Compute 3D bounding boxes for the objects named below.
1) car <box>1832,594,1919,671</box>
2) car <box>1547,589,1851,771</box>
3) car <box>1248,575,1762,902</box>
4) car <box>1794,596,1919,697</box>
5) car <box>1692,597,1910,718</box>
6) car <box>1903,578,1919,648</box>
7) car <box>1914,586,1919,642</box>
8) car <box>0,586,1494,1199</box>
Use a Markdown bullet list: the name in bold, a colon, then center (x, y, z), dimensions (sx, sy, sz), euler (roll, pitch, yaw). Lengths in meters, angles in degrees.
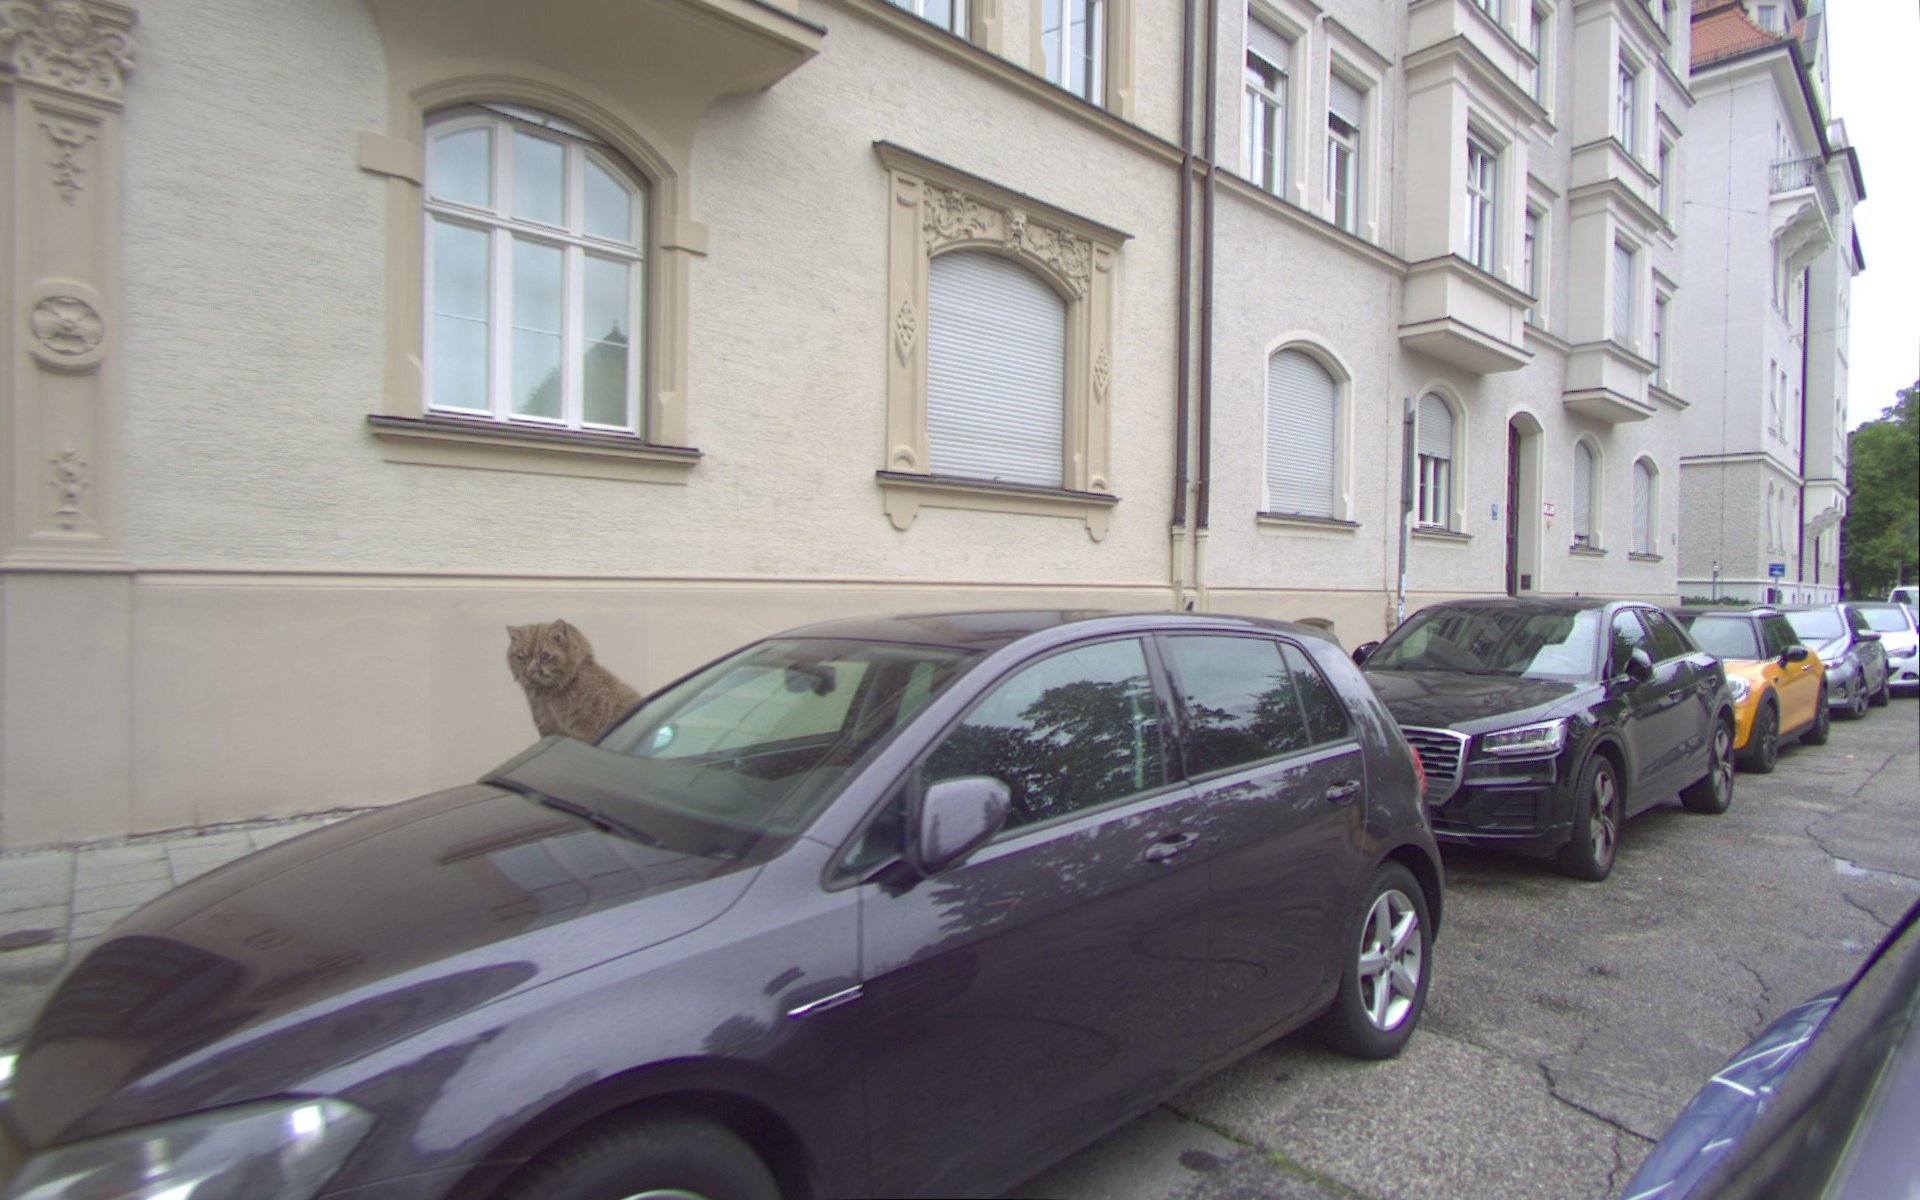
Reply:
- **car**: center (18.774, 0.614, 20.204), dimensions (4.017, 1.408, 1.712), euler (1, 0, -44)
- **car**: center (7.466, 0.665, 10.115), dimensions (3.533, 1.458, 1.660), euler (1, 1, -40)
- **car**: center (3.773, 0.650, 6.716), dimensions (3.889, 1.535, 1.746), euler (1, 1, -41)
- **car**: center (15.238, 0.695, 16.803), dimensions (4.017, 1.489, 1.712), euler (1, 0, -44)
- **car**: center (11.587, 0.689, 13.856), dimensions (3.930, 1.408, 1.713), euler (1, 0, -41)
- **car**: center (28.404, 0.377, 29.028), dimensions (4.017, 1.962, 1.791), euler (1, 0, -44)
- **car**: center (33.114, 0.464, 33.726), dimensions (4.018, 1.809, 1.790), euler (0, 0, -44)
- **car**: center (-0.148, 0.707, 2.896), dimensions (3.929, 1.435, 1.645), euler (0, 0, -41)
